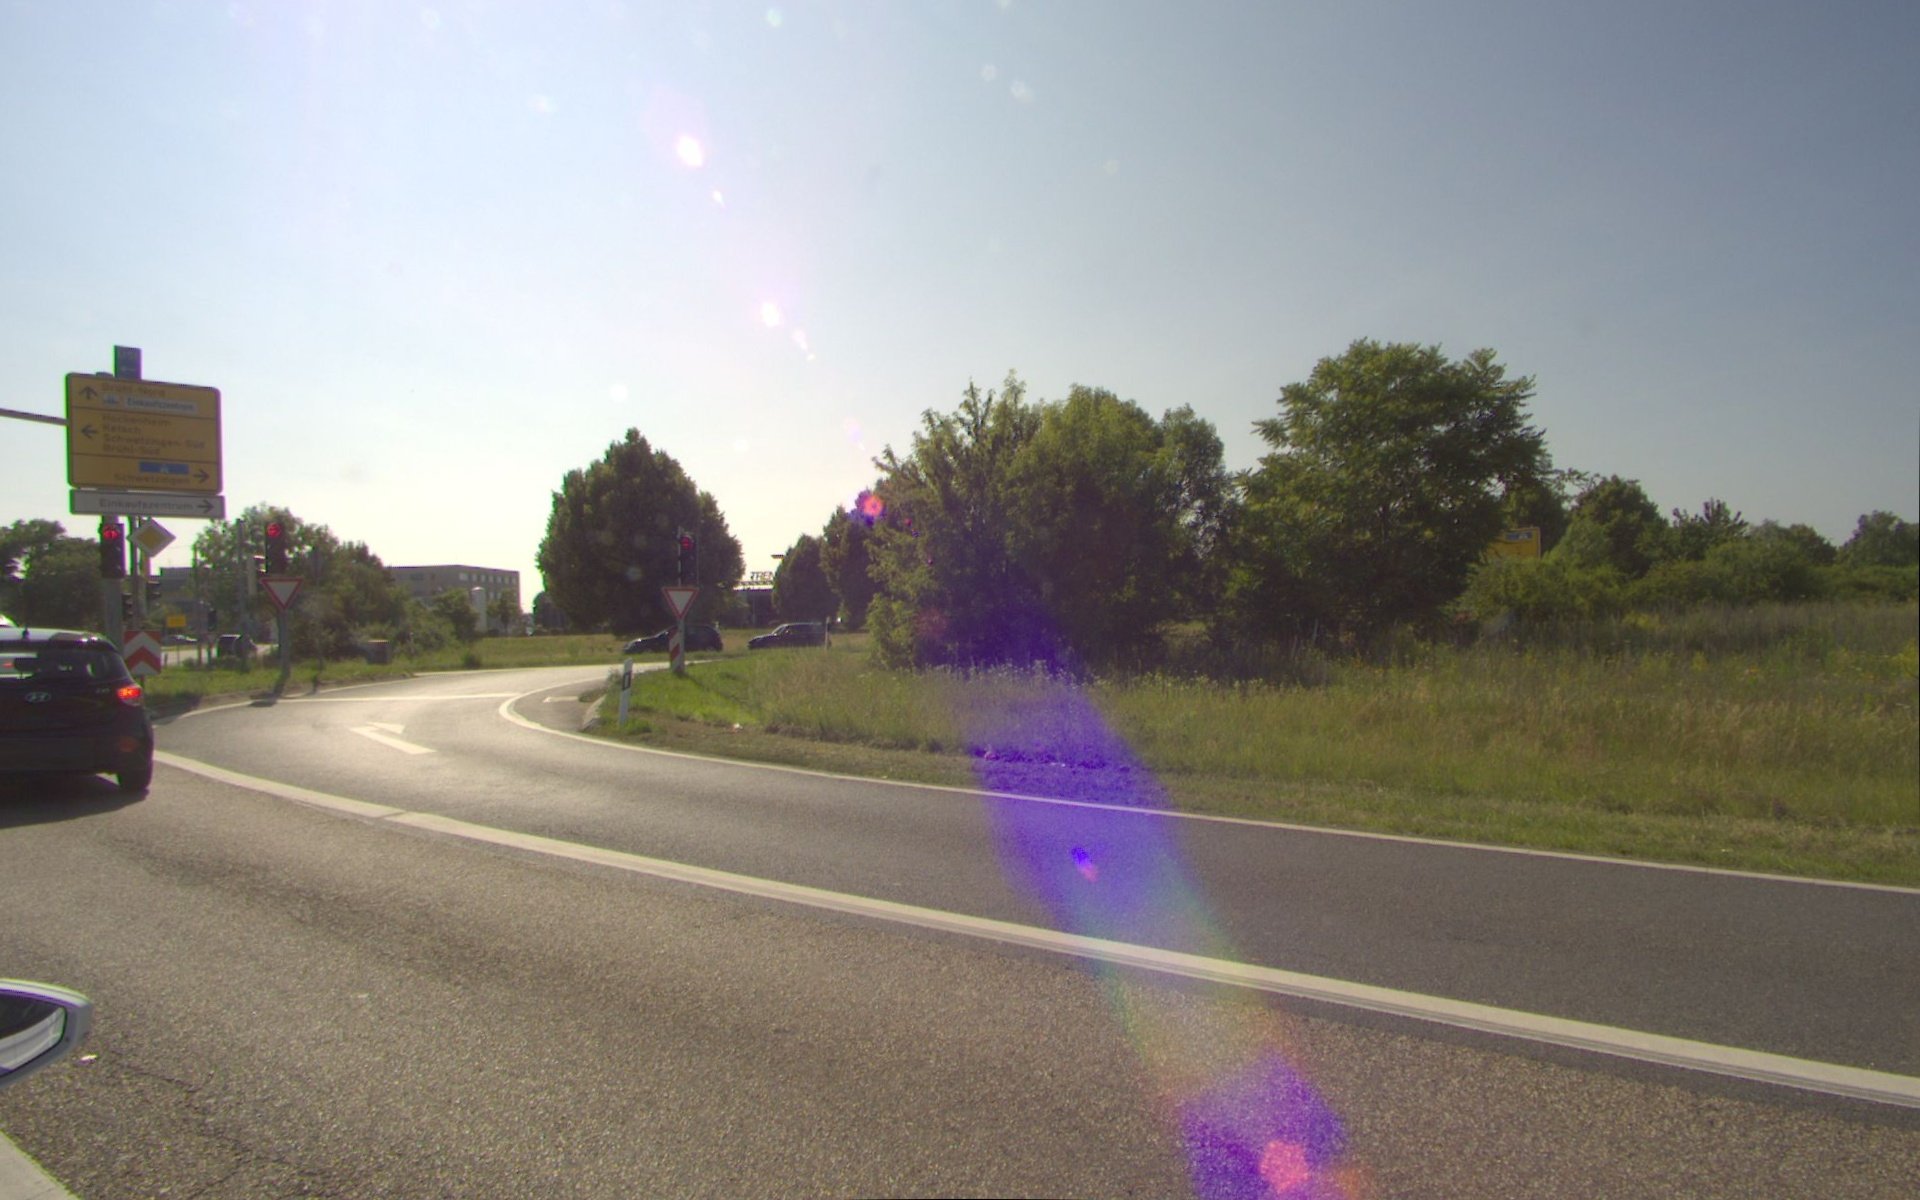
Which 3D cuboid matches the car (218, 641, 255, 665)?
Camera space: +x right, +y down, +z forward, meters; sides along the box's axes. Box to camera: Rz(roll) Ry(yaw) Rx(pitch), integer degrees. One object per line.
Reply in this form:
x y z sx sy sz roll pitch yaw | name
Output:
-51.753 3.754 71.713 1.857 1.694 3.750 1 -3 -32 | car

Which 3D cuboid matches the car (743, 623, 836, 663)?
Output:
-7.903 1.953 46.465 3.828 1.717 1.818 -1 -1 -30 | car

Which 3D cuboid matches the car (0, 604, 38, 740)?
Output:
-13.681 0.927 13.290 3.705 1.698 1.626 -2 -2 39 | car

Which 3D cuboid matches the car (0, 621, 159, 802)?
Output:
-8.914 0.941 9.334 3.255 1.466 1.626 -1 -2 39 | car

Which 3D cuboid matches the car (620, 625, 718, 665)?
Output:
-11.583 1.789 39.868 3.495 1.535 1.455 1 -2 -30 | car
